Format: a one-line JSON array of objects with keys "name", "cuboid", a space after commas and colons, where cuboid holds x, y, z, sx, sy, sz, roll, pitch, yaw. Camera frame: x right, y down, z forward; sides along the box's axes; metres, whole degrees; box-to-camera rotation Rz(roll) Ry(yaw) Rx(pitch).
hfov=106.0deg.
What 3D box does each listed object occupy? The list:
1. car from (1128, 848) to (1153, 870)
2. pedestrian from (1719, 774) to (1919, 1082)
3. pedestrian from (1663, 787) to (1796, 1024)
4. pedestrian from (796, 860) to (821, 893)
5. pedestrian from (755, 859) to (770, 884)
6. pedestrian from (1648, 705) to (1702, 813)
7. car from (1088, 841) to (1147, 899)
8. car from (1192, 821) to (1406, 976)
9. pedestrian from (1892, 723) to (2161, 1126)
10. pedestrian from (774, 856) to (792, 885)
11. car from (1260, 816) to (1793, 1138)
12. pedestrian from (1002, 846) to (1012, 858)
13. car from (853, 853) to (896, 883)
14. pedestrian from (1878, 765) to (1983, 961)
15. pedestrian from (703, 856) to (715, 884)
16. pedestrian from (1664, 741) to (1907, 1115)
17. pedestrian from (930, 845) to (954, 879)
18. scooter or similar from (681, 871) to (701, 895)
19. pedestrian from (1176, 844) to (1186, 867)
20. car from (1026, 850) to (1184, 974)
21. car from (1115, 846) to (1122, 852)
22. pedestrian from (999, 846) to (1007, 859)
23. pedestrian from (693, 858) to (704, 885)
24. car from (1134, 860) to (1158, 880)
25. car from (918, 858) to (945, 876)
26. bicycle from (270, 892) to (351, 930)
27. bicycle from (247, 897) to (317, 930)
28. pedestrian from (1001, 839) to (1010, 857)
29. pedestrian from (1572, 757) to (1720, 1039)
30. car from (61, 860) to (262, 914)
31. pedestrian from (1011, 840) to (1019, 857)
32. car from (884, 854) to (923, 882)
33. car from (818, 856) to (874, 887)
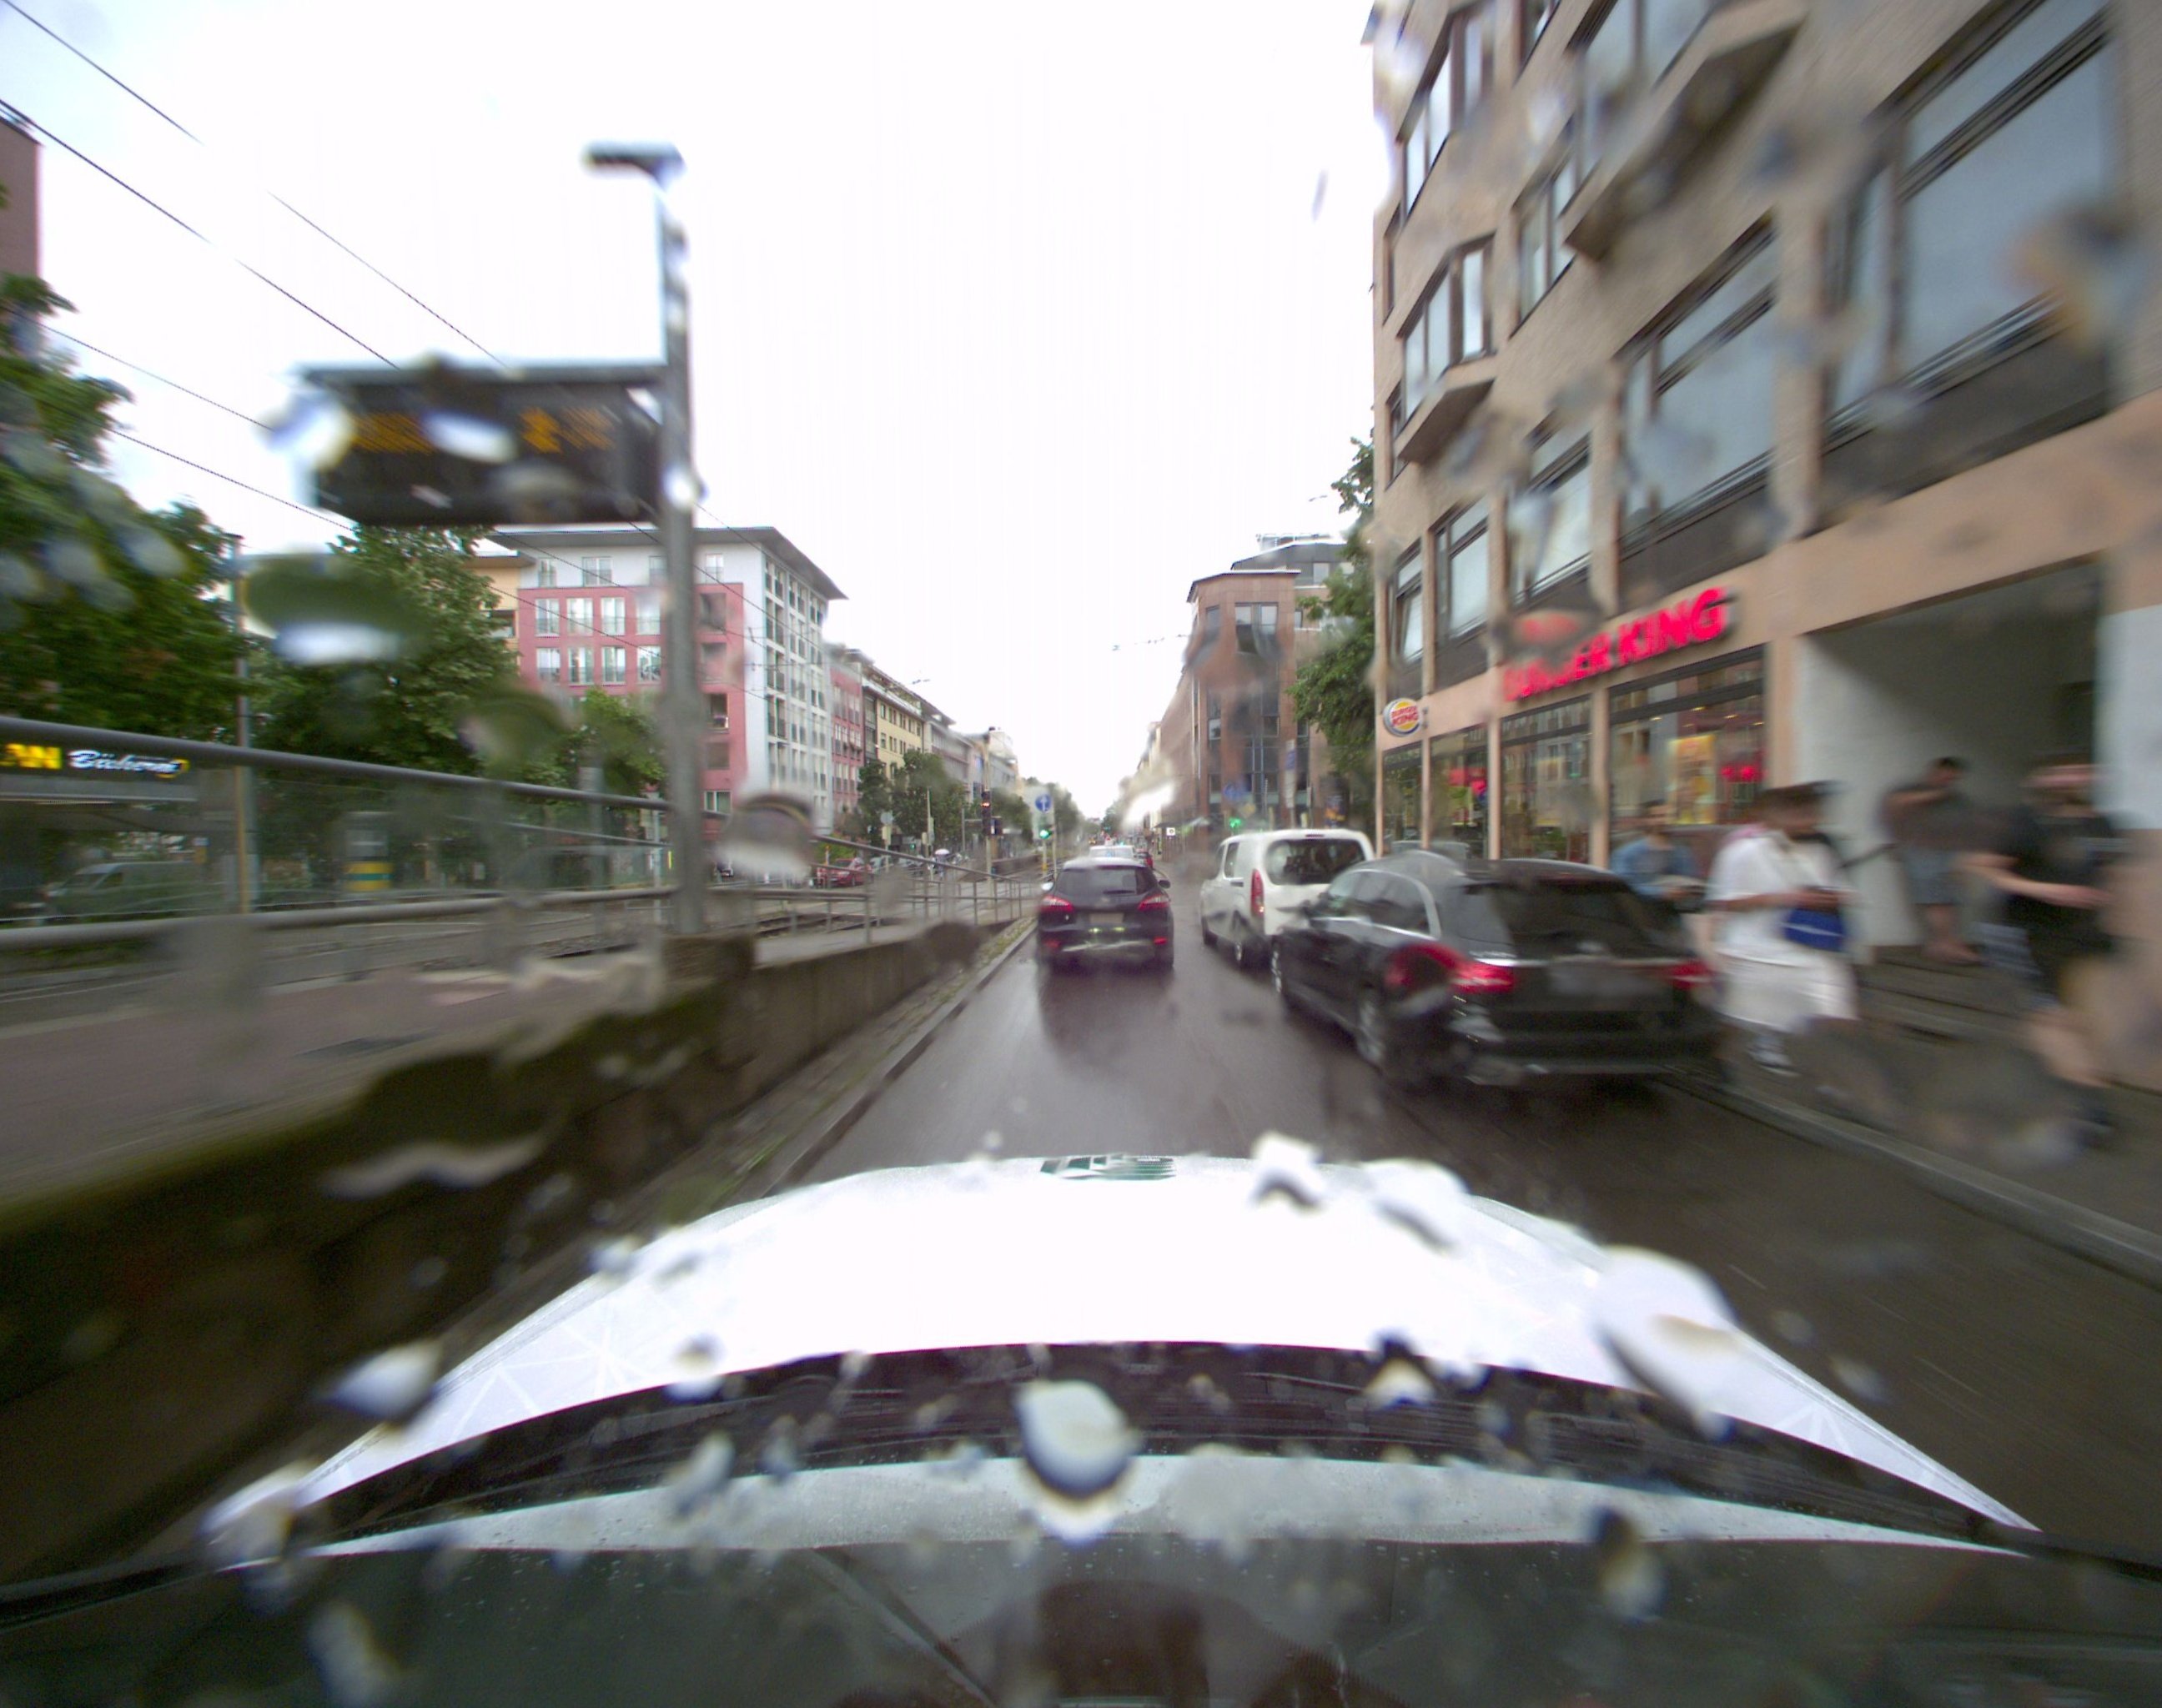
[{"name": "car", "cuboid": [4.455, 0.352, 61.208, 1.691, 1.479, 3.870, -4, 0, 3]}, {"name": "pedestrian", "cuboid": [4.373, 0.419, 4.868, 0.608, 1.714, 0.581, -2, -1, 3]}, {"name": "pedestrian", "cuboid": [4.918, 0.376, 6.201, 0.573, 1.714, 0.477, -2, -1, 3]}, {"name": "pedestrian", "cuboid": [-14.283, 1.171, 42.706, 0.871, 1.631, 0.813, 0, 2, 36]}, {"name": "pedestrian", "cuboid": [-18.878, 1.022, 48.269, 0.637, 1.461, 0.656, 0, 0, 0]}, {"name": "pedestrian", "cuboid": [10.613, -1.677, 14.553, 0.659, 1.820, 0.600, -3, -1, 42]}, {"name": "car", "cuboid": [1.302, 0.541, 28.961, 1.899, 1.864, 4.576, -2, 0, 2]}, {"name": "car", "cuboid": [2.946, 0.542, 12.167, 1.900, 1.806, 4.777, -1, 0, 0]}, {"name": "pedestrian", "cuboid": [4.701, 0.321, 4.012, 0.753, 1.819, 0.588, -2, -1, 3]}, {"name": "pedestrian", "cuboid": [-18.046, 0.989, 49.340, 0.818, 1.697, 0.984, 0, 0, -6]}, {"name": "car", "cuboid": [2.772, 0.646, 6.408, 1.899, 1.615, 4.416, -2, 0, 2]}, {"name": "pedestrian", "cuboid": [-7.240, -0.182, 79.929, 0.892, 1.123, 0.847, -2, 0, -9]}, {"name": "car", "cuboid": [-13.562, 0.864, 53.652, 1.702, 1.858, 4.320, -2, 0, 0]}, {"name": "pedestrian", "cuboid": [6.516, 0.067, 6.259, 0.357, 1.453, 0.373, -2, -1, -1]}, {"name": "pedestrian", "cuboid": [-22.046, 0.929, 48.311, 0.547, 1.631, 0.568, 0, -1, -34]}, {"name": "pedestrian", "cuboid": [3.769, 0.375, 4.418, 0.692, 1.855, 0.653, -2, -1, 3]}, {"name": "pedestrian", "cuboid": [-8.371, 0.463, 49.126, 1.112, 2.013, 1.384, -2, -1, 2]}, {"name": "scooter or similar", "cuboid": [-20.249, 1.491, 42.315, 0.387, 1.191, 1.213, -2, 0, 3]}, {"name": "pedestrian", "cuboid": [7.317, 0.080, 59.635, 0.599, 1.659, 0.626, -2, -1, 2]}, {"name": "car", "cuboid": [0.369, 0.716, 11.685, 1.899, 1.462, 3.447, -2, 0, 2]}, {"name": "car", "cuboid": [10.763, -1.365, 232.106, 1.899, 1.633, 4.577, -2, 0, 3]}, {"name": "pedestrian", "cuboid": [-7.400, -0.166, 77.420, 0.690, 1.249, 0.884, -2, 0, 0]}, {"name": "pedestrian", "cuboid": [-22.674, 1.025, 48.323, 0.581, 1.631, 0.606, 0, 0, -24]}, {"name": "car", "cuboid": [5.166, 1.242, 65.393, 1.692, 1.462, 3.869, -4, 0, 2]}, {"name": "car", "cuboid": [-12.631, 1.058, 69.033, 1.563, 1.436, 3.977, -2, 0, -1]}, {"name": "bicycle", "cuboid": [-21.946, 1.604, 23.242, 0.478, 0.959, 1.874, -2, 0, 2]}, {"name": "bicycle", "cuboid": [-22.891, 1.692, 23.369, 0.338, 0.816, 1.647, -2, 0, 2]}, {"name": "pedestrian", "cuboid": [-6.992, -0.551, 75.441, 0.653, 1.711, 0.850, -2, 0, 0]}, {"name": "pedestrian", "cuboid": [4.112, 0.309, 5.965, 0.648, 1.948, 0.534, -2, -1, 3]}, {"name": "car", "cuboid": [-49.239, 1.646, 43.996, 2.404, 2.534, 7.107, -2, 0, 4]}, {"name": "pedestrian", "cuboid": [-7.198, -0.624, 88.906, 0.653, 1.801, 0.850, -2, 0, 0]}, {"name": "car", "cuboid": [-12.661, 0.934, 58.245, 1.797, 1.858, 4.379, -2, 0, 0]}, {"name": "car", "cuboid": [-13.760, 0.999, 47.988, 1.719, 1.611, 4.557, -2, 1, 3]}]
